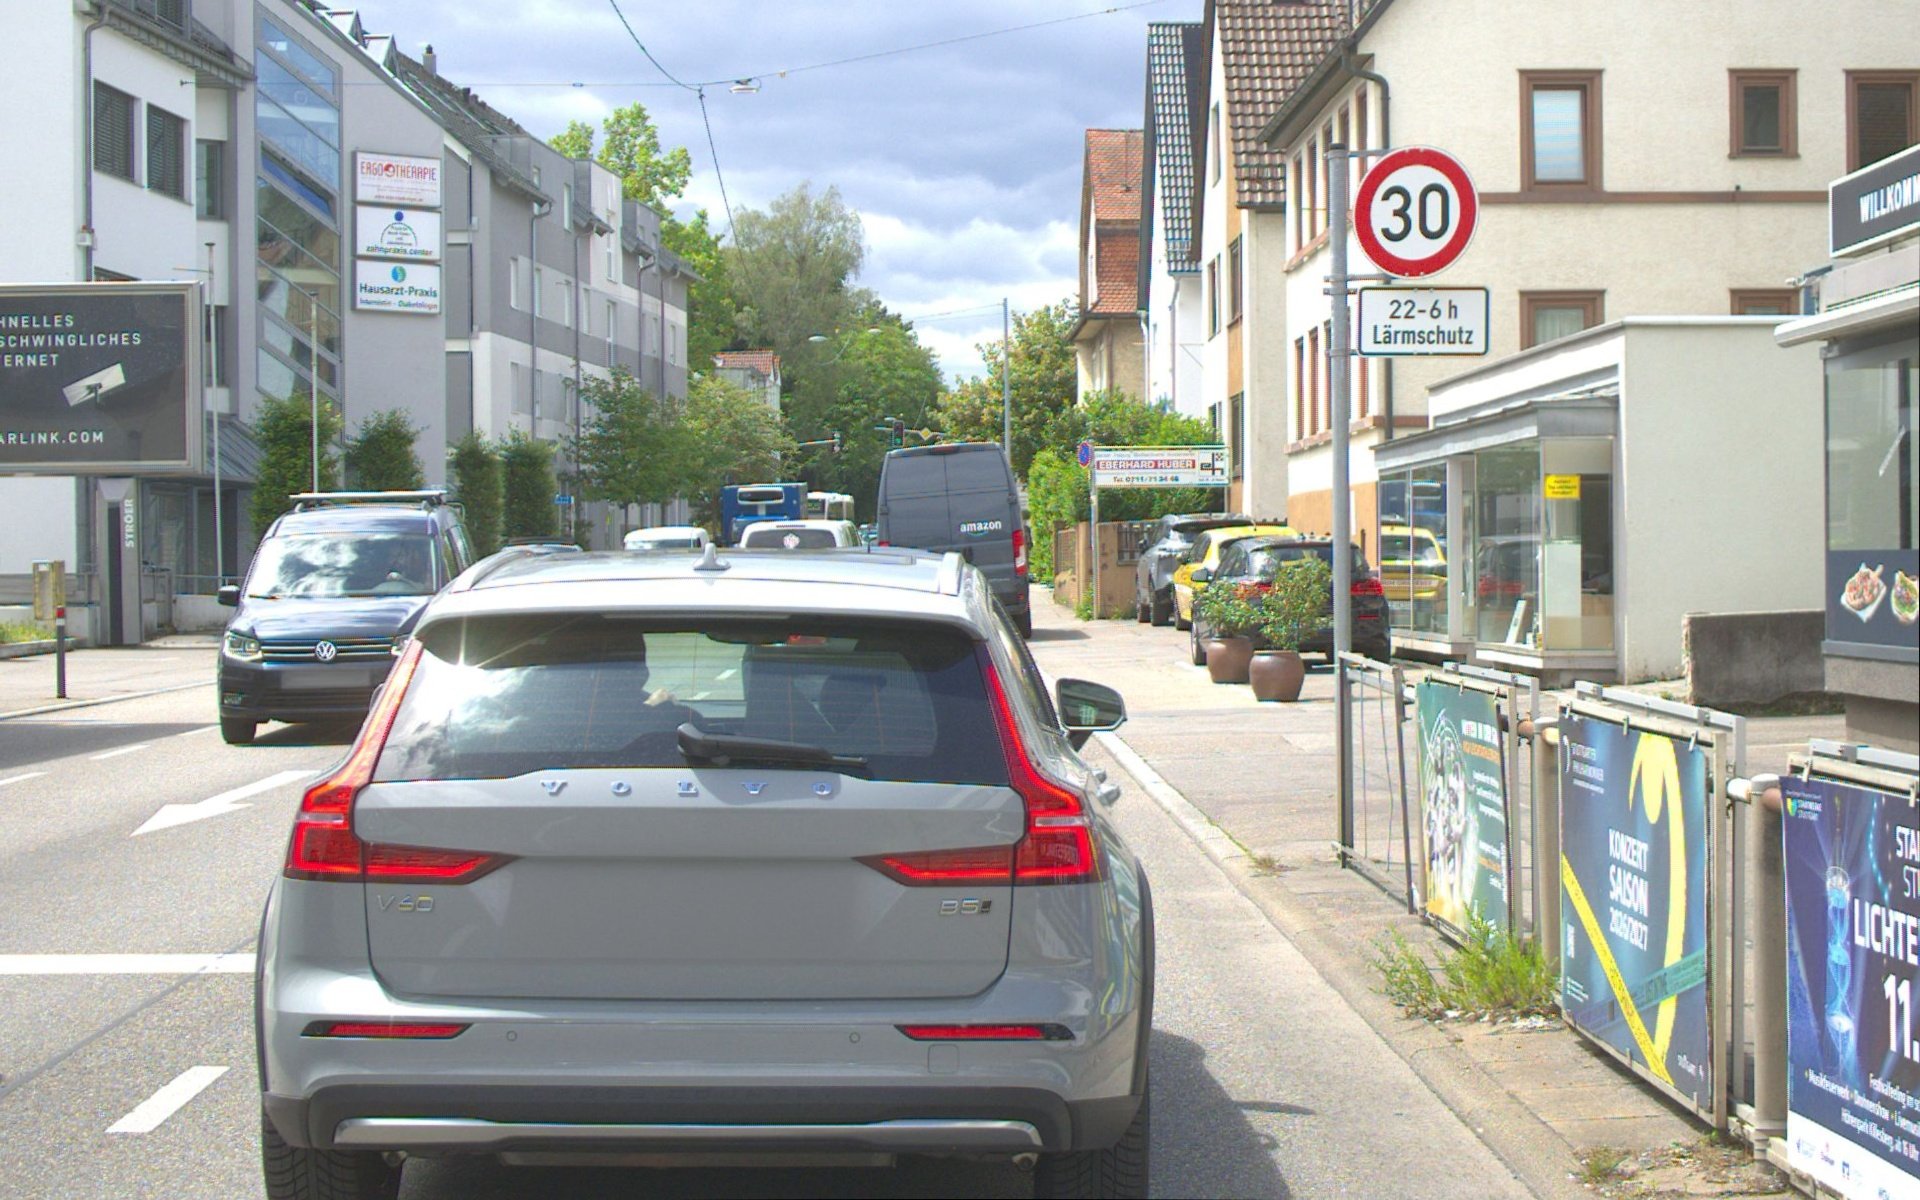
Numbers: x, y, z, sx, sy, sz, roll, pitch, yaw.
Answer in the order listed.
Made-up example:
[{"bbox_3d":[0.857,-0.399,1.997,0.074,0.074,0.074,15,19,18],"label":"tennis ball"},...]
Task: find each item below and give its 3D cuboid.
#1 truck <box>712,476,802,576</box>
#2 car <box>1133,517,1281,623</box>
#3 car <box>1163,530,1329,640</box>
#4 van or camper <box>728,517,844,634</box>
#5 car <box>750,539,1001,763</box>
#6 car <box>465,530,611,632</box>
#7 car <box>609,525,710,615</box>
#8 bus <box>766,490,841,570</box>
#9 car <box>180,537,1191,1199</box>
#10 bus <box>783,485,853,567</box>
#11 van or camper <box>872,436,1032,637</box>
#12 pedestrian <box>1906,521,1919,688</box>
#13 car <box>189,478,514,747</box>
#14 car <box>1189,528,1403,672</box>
[{"bbox_3d":[-6.053,-2.222,103.116,2.276,2.876,7.079,-1,1,0],"label":"truck"},{"bbox_3d":[3.602,-0.411,50.709,1.882,1.495,3.971,0,0,0],"label":"car"},{"bbox_3d":[3.807,-0.184,46.307,1.882,1.411,3.971,0,0,0],"label":"car"},{"bbox_3d":[-2.834,-0.365,56.665,1.819,1.828,4.000,0,-1,-2],"label":"van or camper"},{"bbox_3d":[-0.610,0.317,24.566,1.650,1.477,3.608,0,1,-2],"label":"car"},{"bbox_3d":[-6.249,-0.308,51.224,1.762,1.421,4.000,-1,1,-1],"label":"car"},{"bbox_3d":[-6.289,-0.607,72.278,1.797,1.810,4.000,0,0,0],"label":"car"},{"bbox_3d":[-5.378,-2.432,119.078,2.276,2.659,7.430,-1,1,0],"label":"bus"},{"bbox_3d":[-0.555,0.601,8.278,1.835,1.481,4.000,0,1,-2],"label":"car"},{"bbox_3d":[-5.233,-2.748,127.386,2.276,2.891,7.079,-1,1,0],"label":"bus"},{"bbox_3d":[-0.126,-0.911,48.866,2.123,2.677,4.781,-1,1,0],"label":"van or camper"},{"bbox_3d":[6.232,0.025,21.662,0.414,1.048,0.368,-1,1,-2],"label":"pedestrian"},{"bbox_3d":[-4.708,0.065,27.210,1.838,1.911,4.532,-1,1,-2],"label":"car"},{"bbox_3d":[3.581,0.013,37.231,1.710,1.459,4.000,0,0,-3],"label":"car"}]
